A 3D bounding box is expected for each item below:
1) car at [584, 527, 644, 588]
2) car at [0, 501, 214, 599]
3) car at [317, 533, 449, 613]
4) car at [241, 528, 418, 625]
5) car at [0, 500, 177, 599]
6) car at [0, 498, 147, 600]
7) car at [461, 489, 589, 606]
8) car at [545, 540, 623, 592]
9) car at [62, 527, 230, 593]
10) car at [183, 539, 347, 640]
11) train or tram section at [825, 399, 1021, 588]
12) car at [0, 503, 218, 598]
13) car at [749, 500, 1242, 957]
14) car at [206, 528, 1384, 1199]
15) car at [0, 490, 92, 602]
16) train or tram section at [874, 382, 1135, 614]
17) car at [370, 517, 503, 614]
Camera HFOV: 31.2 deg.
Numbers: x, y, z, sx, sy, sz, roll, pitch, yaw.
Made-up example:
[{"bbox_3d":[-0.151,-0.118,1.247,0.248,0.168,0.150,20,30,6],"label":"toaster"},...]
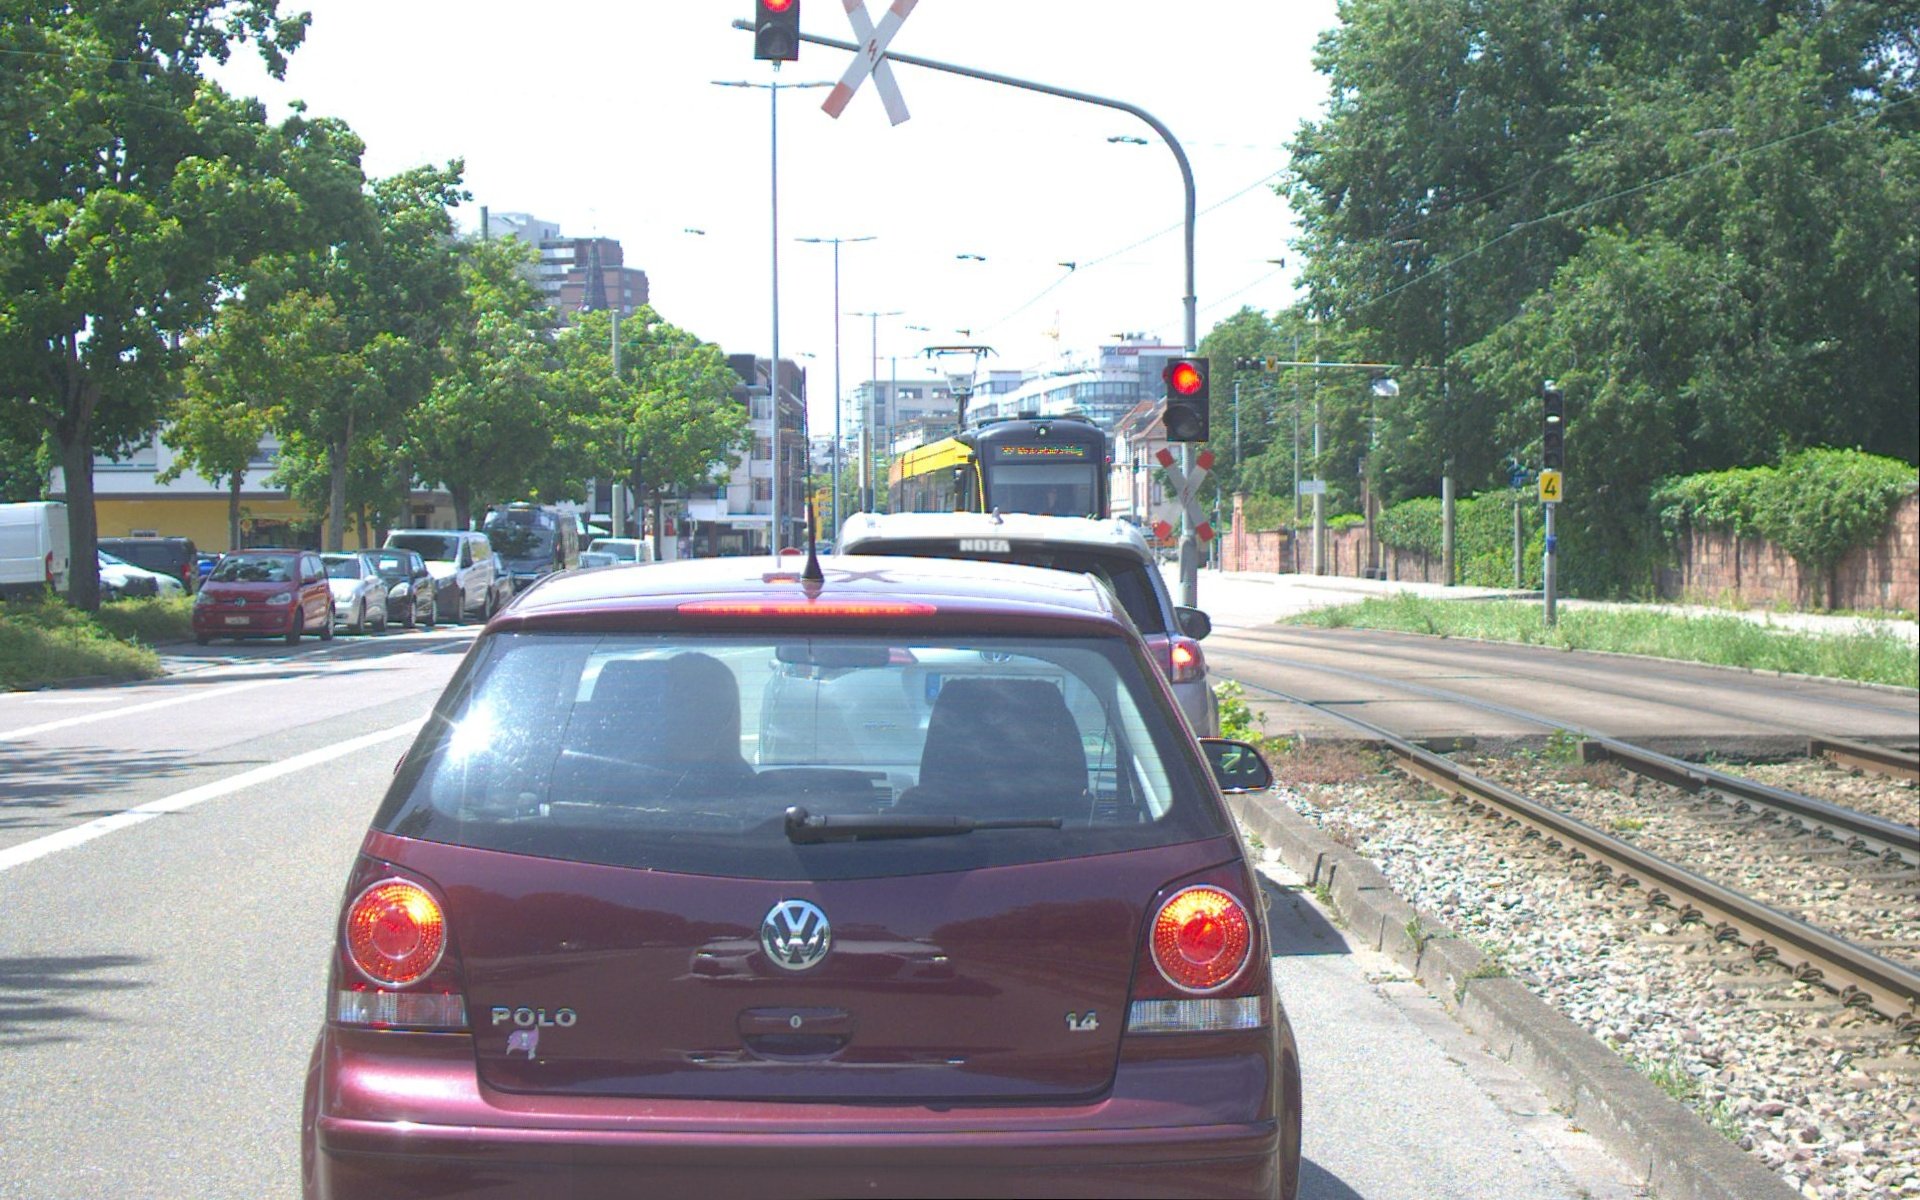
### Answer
[{"bbox_3d":[-10.824,-1.331,107.514,1.774,1.822,4.001,2,0,-6],"label":"car"},{"bbox_3d":[-21.225,-1.223,84.735,5.097,2.237,2.378,2,0,1],"label":"car"},{"bbox_3d":[-10.994,-0.519,65.770,1.614,1.436,4.000,2,0,3],"label":"car"},{"bbox_3d":[-11.124,-0.417,60.954,1.976,1.595,4.557,2,0,4],"label":"car"},{"bbox_3d":[-21.606,-1.220,82.265,5.097,2.237,2.378,2,0,1],"label":"car"},{"bbox_3d":[-21.561,-1.200,79.077,5.097,2.237,2.378,2,0,1],"label":"car"},{"bbox_3d":[-10.610,-1.261,84.229,2.361,2.683,5.307,2,0,0],"label":"car"},{"bbox_3d":[-11.050,-0.989,101.244,1.614,1.436,4.000,2,0,3],"label":"car"},{"bbox_3d":[-21.701,-1.061,91.742,4.020,1.611,1.816,2,0,1],"label":"car"},{"bbox_3d":[-10.947,-0.166,54.407,1.663,1.491,4.000,2,0,1],"label":"car"},{"bbox_3d":[-0.923,-2.207,72.228,2.740,3.597,10.953,2,1,-7],"label":"train or tram section"},{"bbox_3d":[-21.695,-1.253,87.317,5.097,2.237,2.378,2,0,1],"label":"car"},{"bbox_3d":[0.085,0.431,14.650,1.777,1.641,4.000,1,1,-1],"label":"car"},{"bbox_3d":[-0.287,0.632,6.951,1.672,1.516,4.000,1,1,-1],"label":"car"},{"bbox_3d":[-20.830,-1.161,71.038,5.097,2.237,2.378,2,0,1],"label":"car"},{"bbox_3d":[0.551,-1.771,60.820,2.740,3.597,12.873,2,1,-7],"label":"train or tram section"},{"bbox_3d":[-10.798,-0.705,71.191,1.783,1.875,4.785,2,0,2],"label":"car"}]
